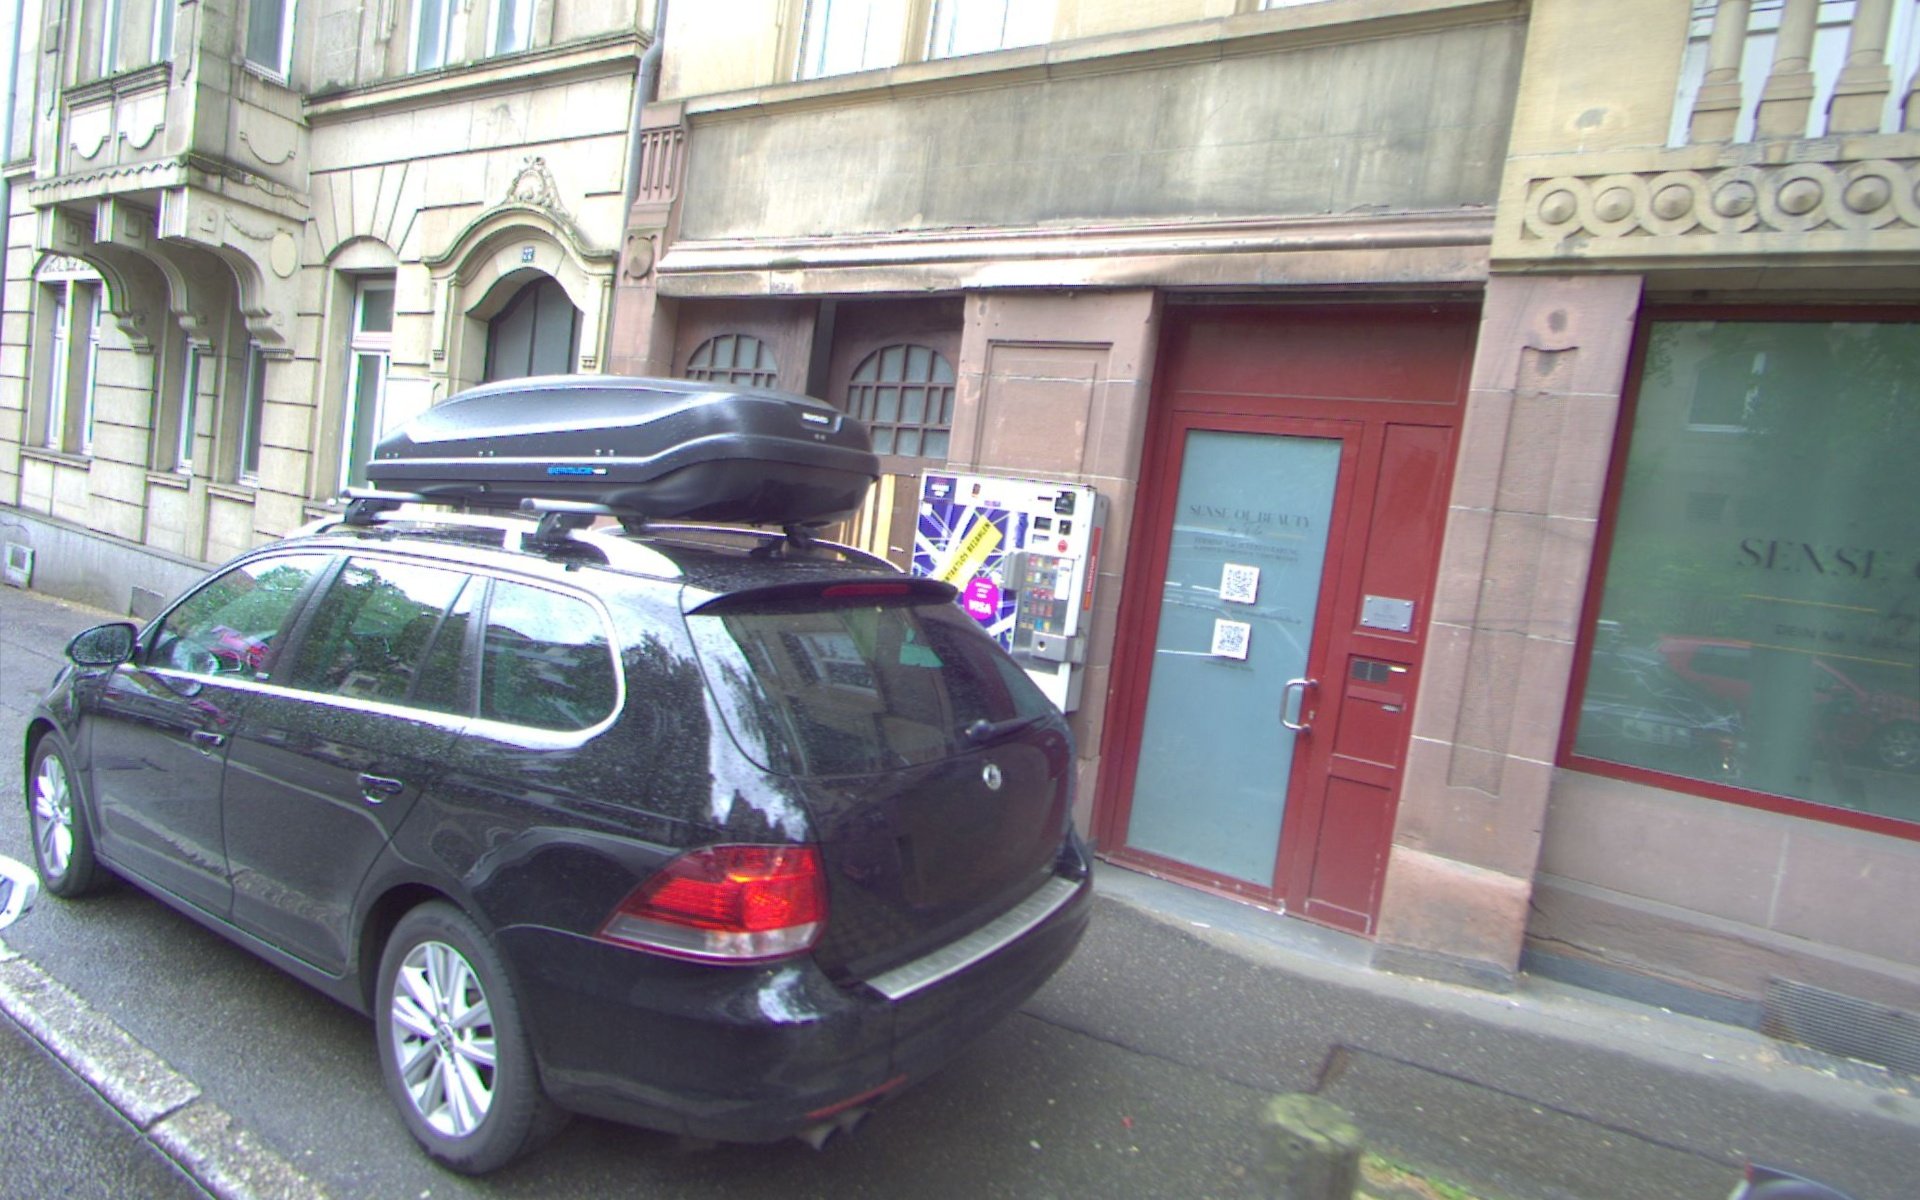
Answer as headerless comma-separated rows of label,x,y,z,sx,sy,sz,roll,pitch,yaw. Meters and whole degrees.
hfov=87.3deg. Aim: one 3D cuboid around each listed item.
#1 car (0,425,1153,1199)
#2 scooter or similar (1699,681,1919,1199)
car,-1.639,0.376,3.397,4.031,1.675,1.757,7,5,32
scooter or similar,2.236,0.908,1.891,1.183,1.336,0.593,7,3,32
